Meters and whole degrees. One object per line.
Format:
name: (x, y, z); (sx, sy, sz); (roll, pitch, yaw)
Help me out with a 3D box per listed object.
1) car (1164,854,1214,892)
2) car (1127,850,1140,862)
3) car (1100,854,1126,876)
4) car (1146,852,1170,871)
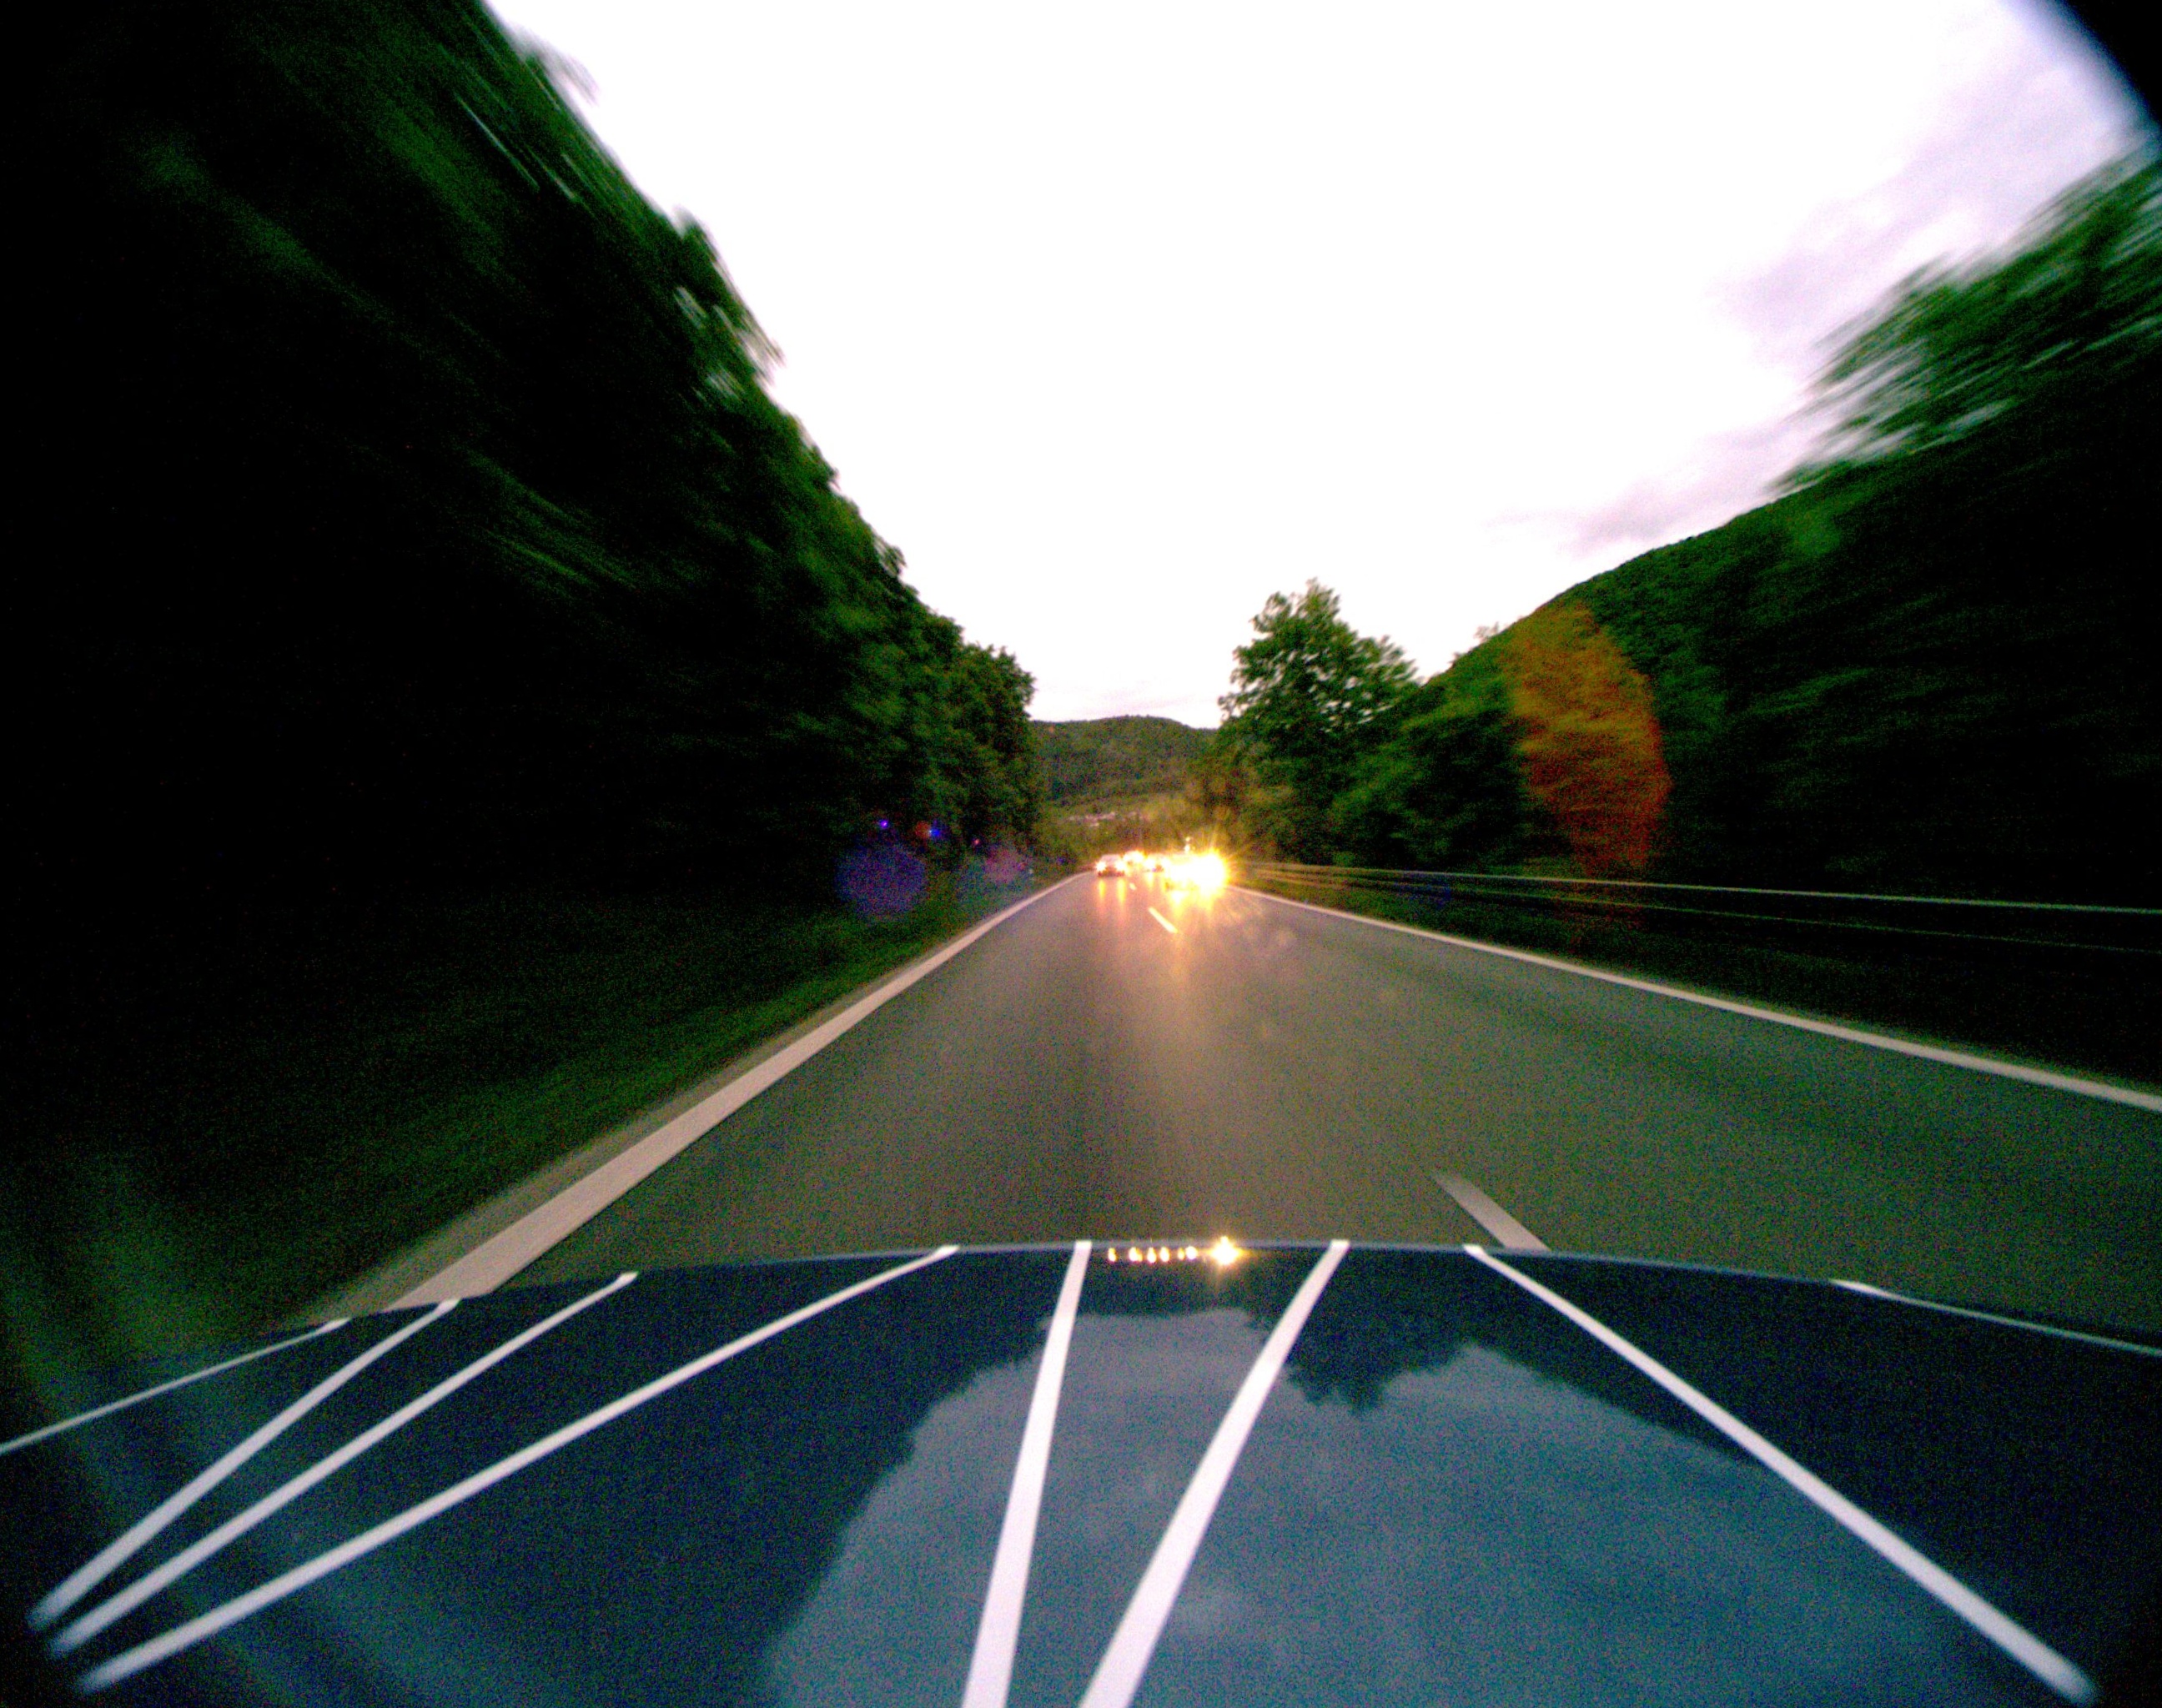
car: (4.577, 0.766, 32.660); (1.690, 1.460, 3.768); (-2, 0, 2)
car: (7.260, 0.268, 104.531); (1.737, 1.641, 3.669); (-2, 0, 4)
car: (2.251, 0.741, 52.723); (1.690, 1.443, 3.669); (-2, 0, 3)
car: (6.386, 0.596, 63.045); (1.690, 1.425, 3.669); (-2, 0, 2)
